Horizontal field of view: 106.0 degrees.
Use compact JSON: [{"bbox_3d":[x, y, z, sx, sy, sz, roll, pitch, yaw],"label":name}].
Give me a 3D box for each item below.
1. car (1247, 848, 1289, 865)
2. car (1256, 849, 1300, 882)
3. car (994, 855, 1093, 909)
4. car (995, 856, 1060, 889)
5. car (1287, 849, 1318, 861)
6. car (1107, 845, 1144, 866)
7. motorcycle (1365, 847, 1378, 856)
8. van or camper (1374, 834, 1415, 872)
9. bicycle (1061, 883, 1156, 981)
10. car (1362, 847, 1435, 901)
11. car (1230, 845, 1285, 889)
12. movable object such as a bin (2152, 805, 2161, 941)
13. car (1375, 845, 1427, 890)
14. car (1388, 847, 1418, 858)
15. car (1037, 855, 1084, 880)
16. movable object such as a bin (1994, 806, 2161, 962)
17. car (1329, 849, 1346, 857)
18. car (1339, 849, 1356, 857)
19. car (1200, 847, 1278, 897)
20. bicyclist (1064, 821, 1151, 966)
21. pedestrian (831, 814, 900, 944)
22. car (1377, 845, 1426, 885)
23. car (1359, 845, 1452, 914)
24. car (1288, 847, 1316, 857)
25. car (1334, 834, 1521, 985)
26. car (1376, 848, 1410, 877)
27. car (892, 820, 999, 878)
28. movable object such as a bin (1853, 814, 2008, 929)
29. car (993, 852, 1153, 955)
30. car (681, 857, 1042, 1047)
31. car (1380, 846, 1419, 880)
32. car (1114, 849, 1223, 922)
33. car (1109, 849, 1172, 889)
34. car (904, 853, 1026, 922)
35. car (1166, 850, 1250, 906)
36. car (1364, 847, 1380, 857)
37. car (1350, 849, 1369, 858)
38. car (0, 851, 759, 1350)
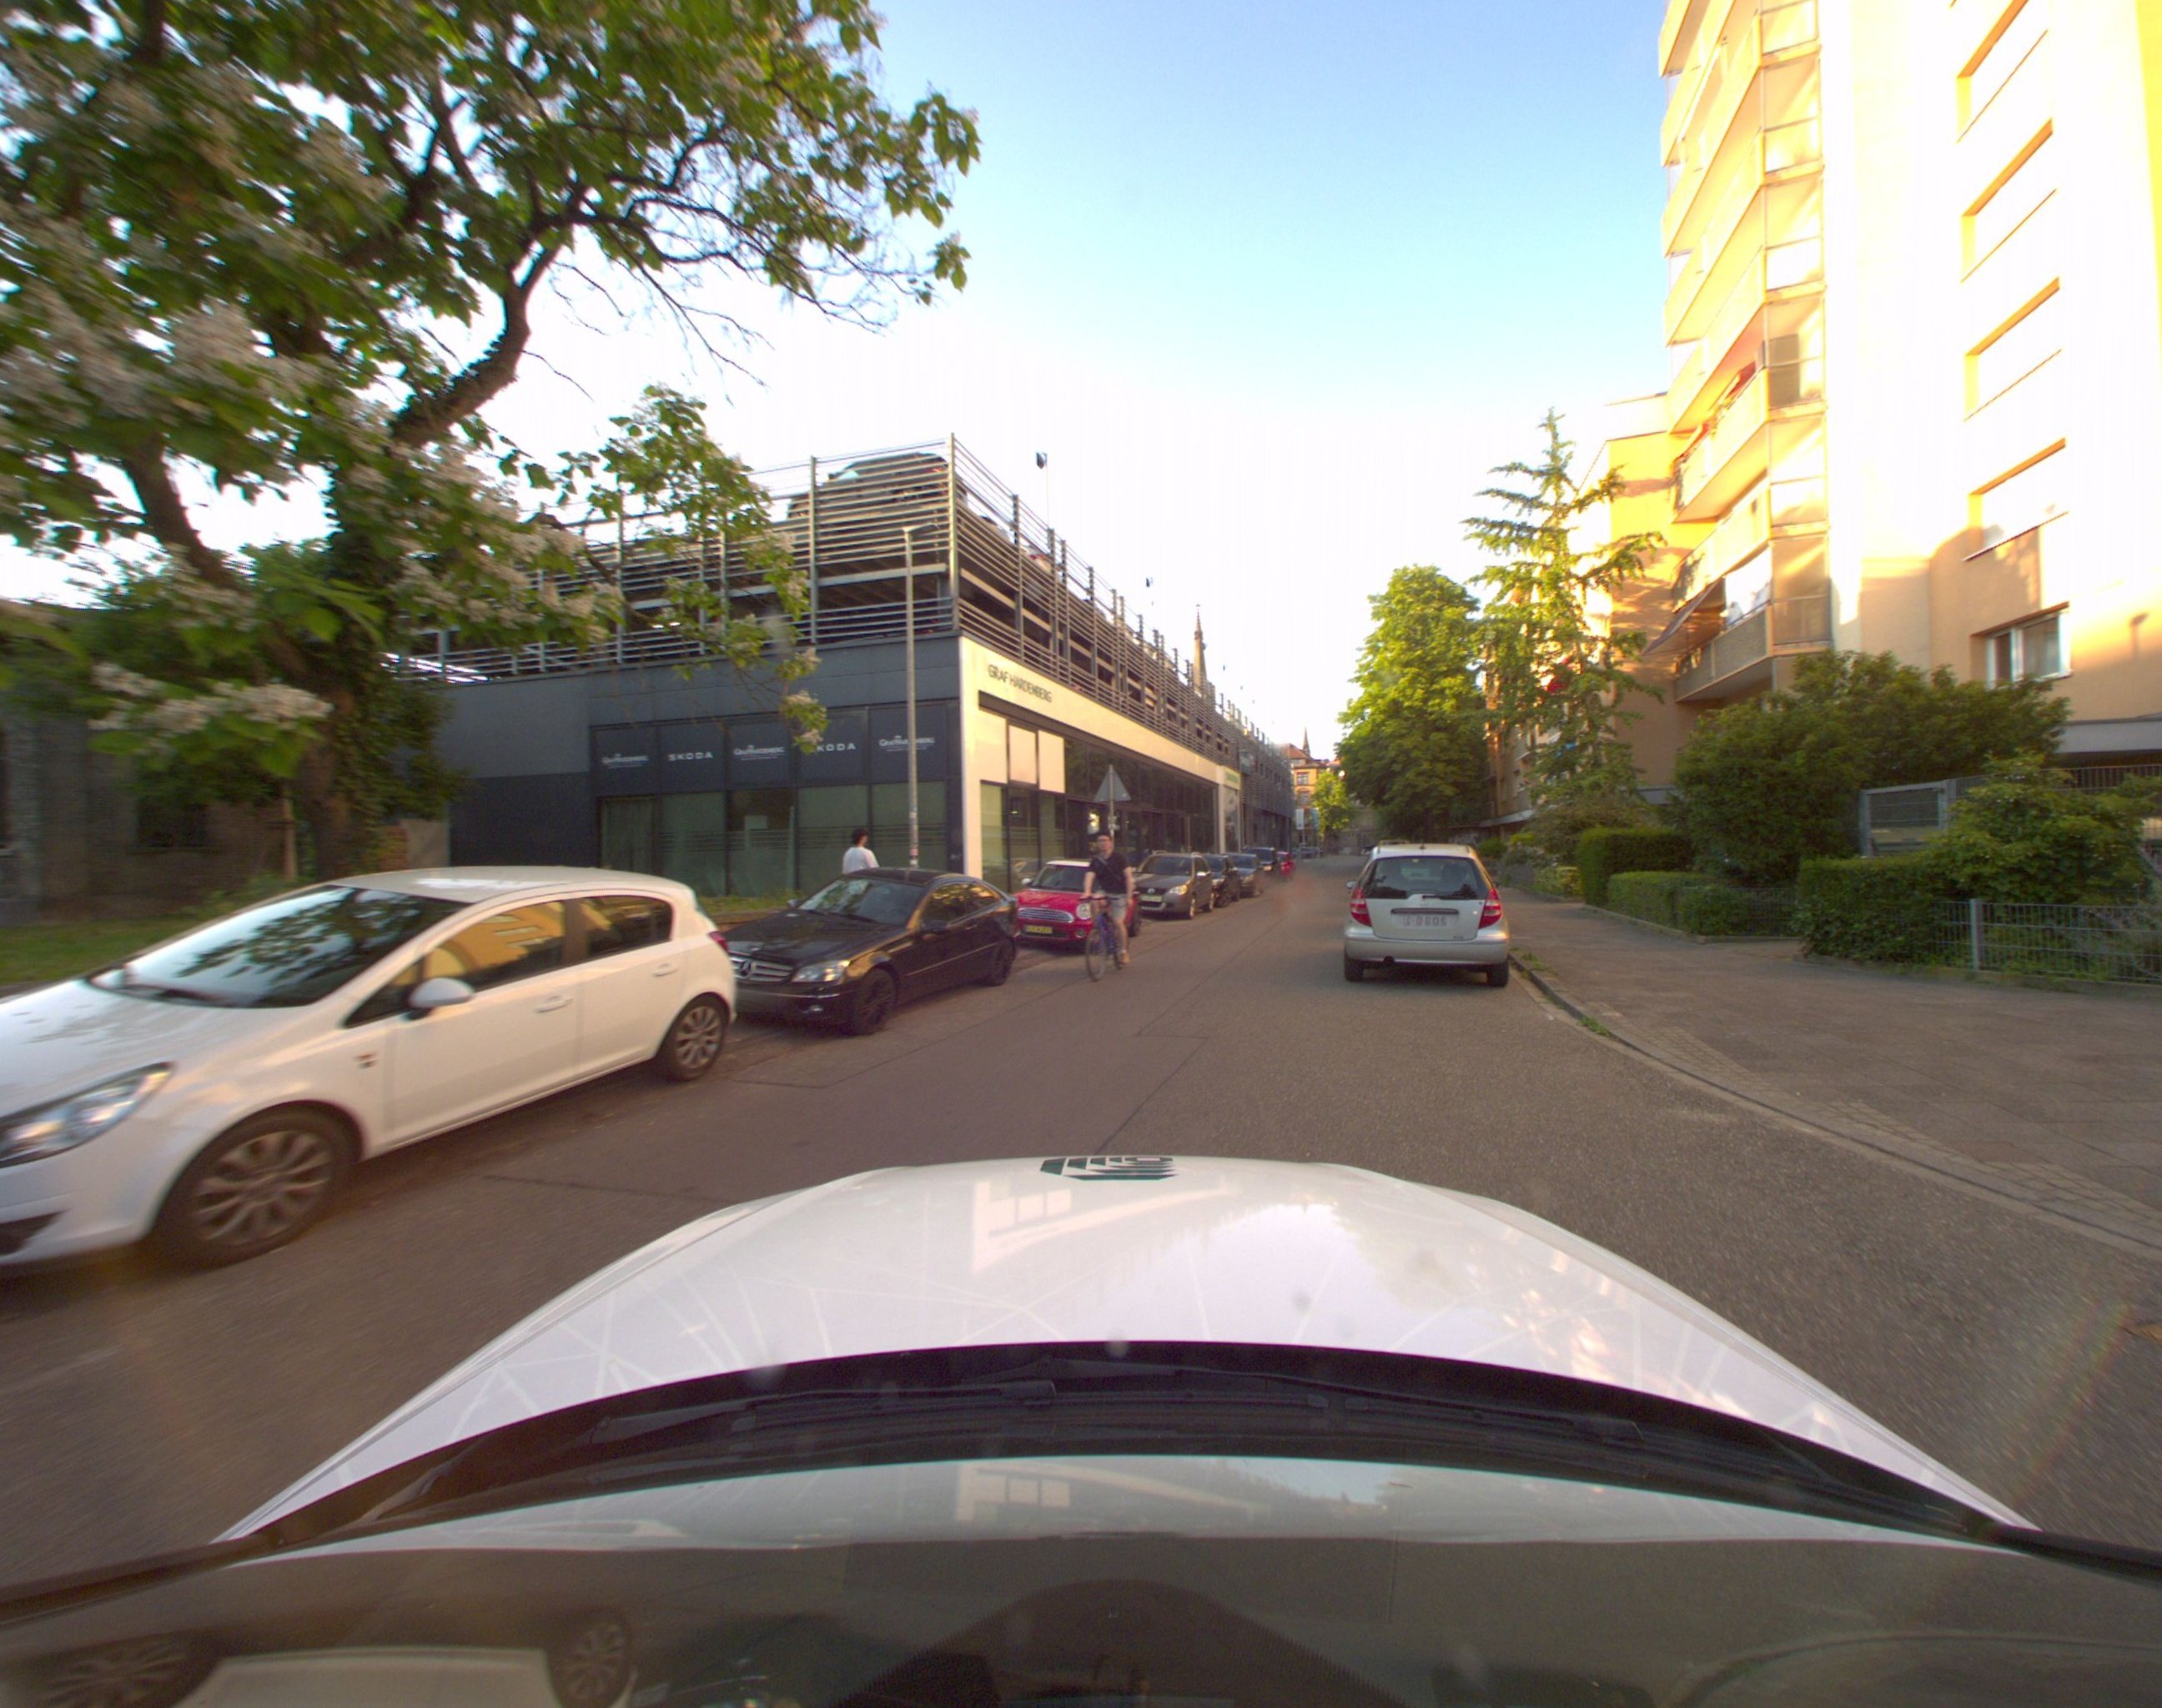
[{"bbox_3d":[18.680,0.284,81.299,3.955,1.586,1.868,-2,-2,18],"label":"car"},{"bbox_3d":[9.883,0.555,40.694,1.683,1.506,3.810,-2,0,20],"label":"car"},{"bbox_3d":[-1.124,0.864,26.558,1.683,1.514,4.213,-2,0,20],"label":"car"},{"bbox_3d":[-2.544,0.861,39.643,1.683,1.434,3.940,-2,0,20],"label":"car"},{"bbox_3d":[30.675,0.084,112.885,4.096,1.617,1.922,0,1,18],"label":"car"},{"bbox_3d":[2.951,0.055,53.780,1.408,1.255,3.545,-2,1,21],"label":"car"},{"bbox_3d":[48.290,-0.380,135.396,1.920,1.340,0.579,-2,0,10],"label":"motorcycle"},{"bbox_3d":[18.630,-0.103,48.527,2.047,2.096,5.115,-2,1,19],"label":"van or camper"},{"bbox_3d":[0.411,0.978,10.711,0.753,1.097,1.872,-3,-1,16],"label":"bicycle"},{"bbox_3d":[9.443,0.533,24.406,1.794,1.416,4.649,-2,0,20],"label":"car"},{"bbox_3d":[7.745,0.505,35.489,1.683,1.756,4.425,-2,0,20],"label":"car"},{"bbox_3d":[12.024,0.209,7.951,1.174,1.470,1.589,-2,1,16],"label":"movable object such as a bin"},{"bbox_3d":[11.585,0.444,29.633,1.596,1.461,4.075,-2,0,20],"label":"car"},{"bbox_3d":[46.770,-0.212,118.218,3.980,1.466,1.865,-1,1,-27],"label":"car"},{"bbox_3d":[-1.088,0.715,44.764,1.408,1.255,3.231,-2,1,21],"label":"car"},{"bbox_3d":[10.683,0.257,8.317,1.115,1.470,1.589,-2,1,16],"label":"movable object such as a bin"},{"bbox_3d":[46.904,-0.189,148.806,1.651,1.431,3.891,-1,1,-4],"label":"car"},{"bbox_3d":[47.139,-0.172,144.071,1.650,1.431,4.164,-1,1,-2],"label":"car"},{"bbox_3d":[5.779,0.607,29.402,1.920,1.596,4.228,-2,1,22],"label":"car"},{"bbox_3d":[0.368,0.495,10.724,0.852,1.808,1.021,-2,0,16],"label":"bicyclist"},{"bbox_3d":[-3.225,0.368,12.218,0.715,1.878,0.623,-2,0,21],"label":"pedestrian"},{"bbox_3d":[13.417,0.423,34.288,1.776,1.562,4.215,-2,0,20],"label":"car"},{"bbox_3d":[7.594,0.539,19.220,1.794,1.416,3.916,-2,0,20],"label":"car"},{"bbox_3d":[32.612,-0.325,120.080,4.014,1.475,1.929,0,1,16],"label":"car"},{"bbox_3d":[4.351,0.574,10.575,1.794,1.575,3.904,-2,0,20],"label":"car"},{"bbox_3d":[16.690,0.432,43.541,1.592,1.381,4.022,-2,1,22],"label":"car"},{"bbox_3d":[-4.230,-0.161,25.947,1.683,1.658,3.757,-2,0,20],"label":"car"},{"bbox_3d":[11.228,0.216,10.832,0.870,1.415,1.306,-2,1,16],"label":"movable object such as a bin"},{"bbox_3d":[0.024,0.742,14.455,1.649,1.410,3.945,4,2,17],"label":"car"},{"bbox_3d":[-2.076,0.835,9.188,1.648,1.415,4.435,4,2,19],"label":"car"},{"bbox_3d":[15.101,0.402,38.699,1.596,1.510,3.495,-2,0,20],"label":"car"},{"bbox_3d":[2.265,0.679,20.127,1.648,1.497,3.905,4,2,21],"label":"car"},{"bbox_3d":[2.802,0.641,37.255,1.683,1.658,4.432,-2,0,20],"label":"car"},{"bbox_3d":[-3.016,0.834,22.040,1.579,1.650,3.896,-2,0,20],"label":"car"},{"bbox_3d":[3.913,0.653,24.509,1.715,1.402,4.026,4,2,19],"label":"car"},{"bbox_3d":[52.376,-0.391,146.440,1.671,1.782,3.011,-1,0,-4],"label":"car"},{"bbox_3d":[47.578,-0.056,139.173,1.651,1.431,3.985,-1,1,-3],"label":"car"},{"bbox_3d":[-3.815,0.793,4.674,1.649,1.514,3.900,2,1,14],"label":"car"}]
